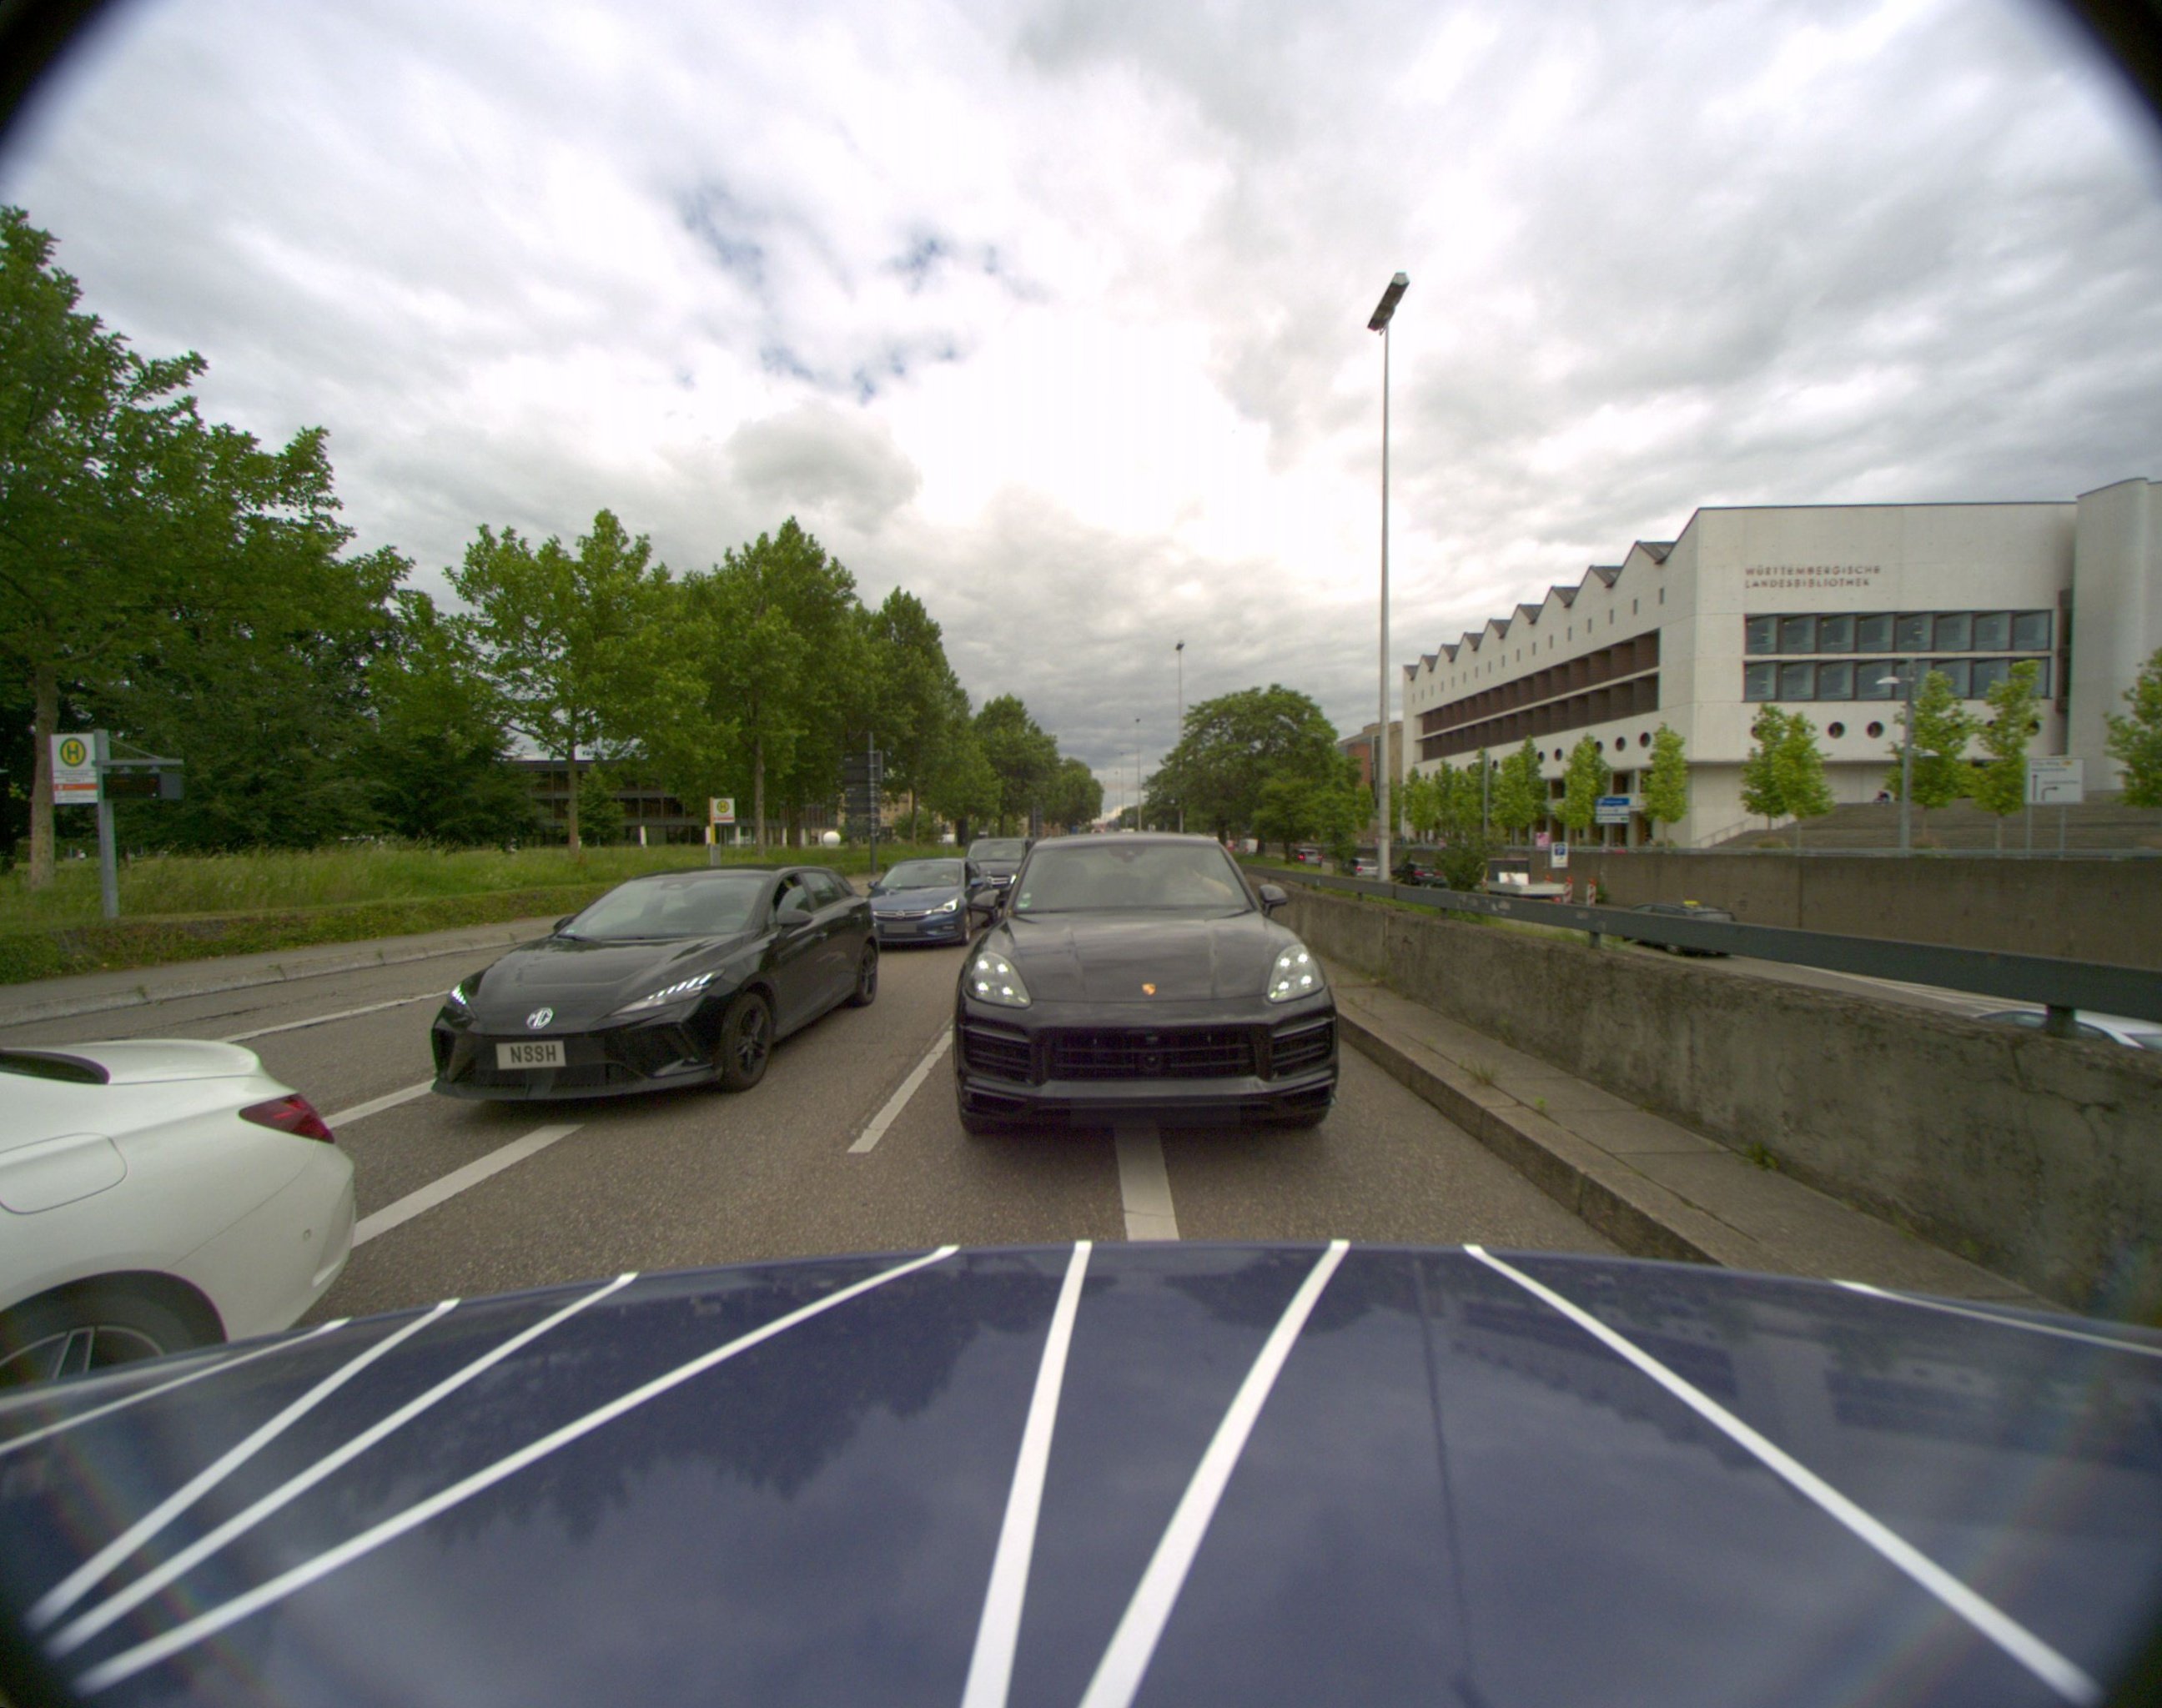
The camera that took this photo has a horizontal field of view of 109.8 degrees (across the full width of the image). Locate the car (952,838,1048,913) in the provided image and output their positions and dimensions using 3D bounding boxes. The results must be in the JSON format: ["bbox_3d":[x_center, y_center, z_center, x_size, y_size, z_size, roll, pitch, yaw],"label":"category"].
[{"bbox_3d":[-2.129,0.490,21.442,2.021,1.823,4.804,-1,1,2],"label":"car"}]

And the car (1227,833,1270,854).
[{"bbox_3d":[16.889,-1.037,76.867,2.226,2.002,5.110,-1,1,-12],"label":"car"}]

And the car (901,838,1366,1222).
[{"bbox_3d":[0.343,0.704,5.532,1.904,1.581,4.732,-1,1,3],"label":"car"}]

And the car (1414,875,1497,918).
[{"bbox_3d":[17.340,1.941,35.404,1.816,1.562,4.168,-3,2,1],"label":"car"}]

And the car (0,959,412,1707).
[{"bbox_3d":[-3.184,1.112,0.221,1.799,1.412,4.526,-1,1,2],"label":"car"}]

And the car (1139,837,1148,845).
[{"bbox_3d":[11.693,-2.471,141.791,1.372,1.390,3.721,2,1,0],"label":"car"}]

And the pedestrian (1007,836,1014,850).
[{"bbox_3d":[-10.666,-1.675,114.707,0.892,2.002,1.181,-3,2,2],"label":"pedestrian"}]

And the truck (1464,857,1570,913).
[{"bbox_3d":[20.836,1.404,36.636,2.187,2.386,5.380,-2,0,3],"label":"truck"}]

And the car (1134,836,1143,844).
[{"bbox_3d":[11.353,-2.749,151.086,1.372,1.389,3.722,-1,-1,-1],"label":"car"}]

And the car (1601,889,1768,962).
[{"bbox_3d":[20.420,2.355,26.026,2.168,1.757,4.391,1,4,0],"label":"car"}]

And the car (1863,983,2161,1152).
[{"bbox_3d":[17.315,3.577,13.372,2.185,1.562,4.837,-3,2,1],"label":"car"}]

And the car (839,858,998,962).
[{"bbox_3d":[-2.666,0.862,13.460,1.805,1.426,4.015,-1,1,2],"label":"car"}]

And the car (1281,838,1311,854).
[{"bbox_3d":[25.583,-0.977,90.417,2.180,1.844,4.735,-1,1,-1],"label":"car"}]

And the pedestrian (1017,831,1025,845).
[{"bbox_3d":[-9.058,-2.435,114.749,0.892,2.002,1.181,-3,2,2],"label":"pedestrian"}]

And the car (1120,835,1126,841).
[{"bbox_3d":[10.436,-3.920,190.386,1.525,1.389,3.479,-1,-1,3],"label":"car"}]

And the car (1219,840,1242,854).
[{"bbox_3d":[16.962,-0.823,86.385,1.998,1.477,4.000,-1,1,2],"label":"car"}]

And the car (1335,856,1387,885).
[{"bbox_3d":[17.761,1.003,48.322,1.717,1.533,3.906,-3,2,-2],"label":"car"}]

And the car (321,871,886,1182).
[{"bbox_3d":[-3.106,0.985,6.154,1.852,1.481,4.092,-1,1,2],"label":"car"}]

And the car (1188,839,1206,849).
[{"bbox_3d":[16.823,-1.482,110.125,1.998,1.390,3.999,2,1,0],"label":"car"}]

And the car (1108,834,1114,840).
[{"bbox_3d":[9.944,-5.671,250.775,1.998,1.753,3.999,2,2,0],"label":"car"}]

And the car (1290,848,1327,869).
[{"bbox_3d":[18.087,0.330,60.580,1.880,1.539,3.999,-1,1,1],"label":"car"}]

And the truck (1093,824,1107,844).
[{"bbox_3d":[3.617,-3.768,142.886,2.357,3.518,9.423,-3,2,2],"label":"truck"}]

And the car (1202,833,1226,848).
[{"bbox_3d":[16.698,-1.754,95.868,1.998,1.630,5.247,5,3,0],"label":"car"}]

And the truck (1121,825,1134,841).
[{"bbox_3d":[10.274,-4.691,167.700,2.576,3.289,8.079,-3,2,2],"label":"truck"}]

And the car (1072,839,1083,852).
[{"bbox_3d":[-0.678,-1.501,133.177,1.693,2.002,3.999,-3,2,2],"label":"car"}]

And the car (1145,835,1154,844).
[{"bbox_3d":[12.074,-2.570,134.296,1.372,1.390,3.721,2,1,0],"label":"car"}]
